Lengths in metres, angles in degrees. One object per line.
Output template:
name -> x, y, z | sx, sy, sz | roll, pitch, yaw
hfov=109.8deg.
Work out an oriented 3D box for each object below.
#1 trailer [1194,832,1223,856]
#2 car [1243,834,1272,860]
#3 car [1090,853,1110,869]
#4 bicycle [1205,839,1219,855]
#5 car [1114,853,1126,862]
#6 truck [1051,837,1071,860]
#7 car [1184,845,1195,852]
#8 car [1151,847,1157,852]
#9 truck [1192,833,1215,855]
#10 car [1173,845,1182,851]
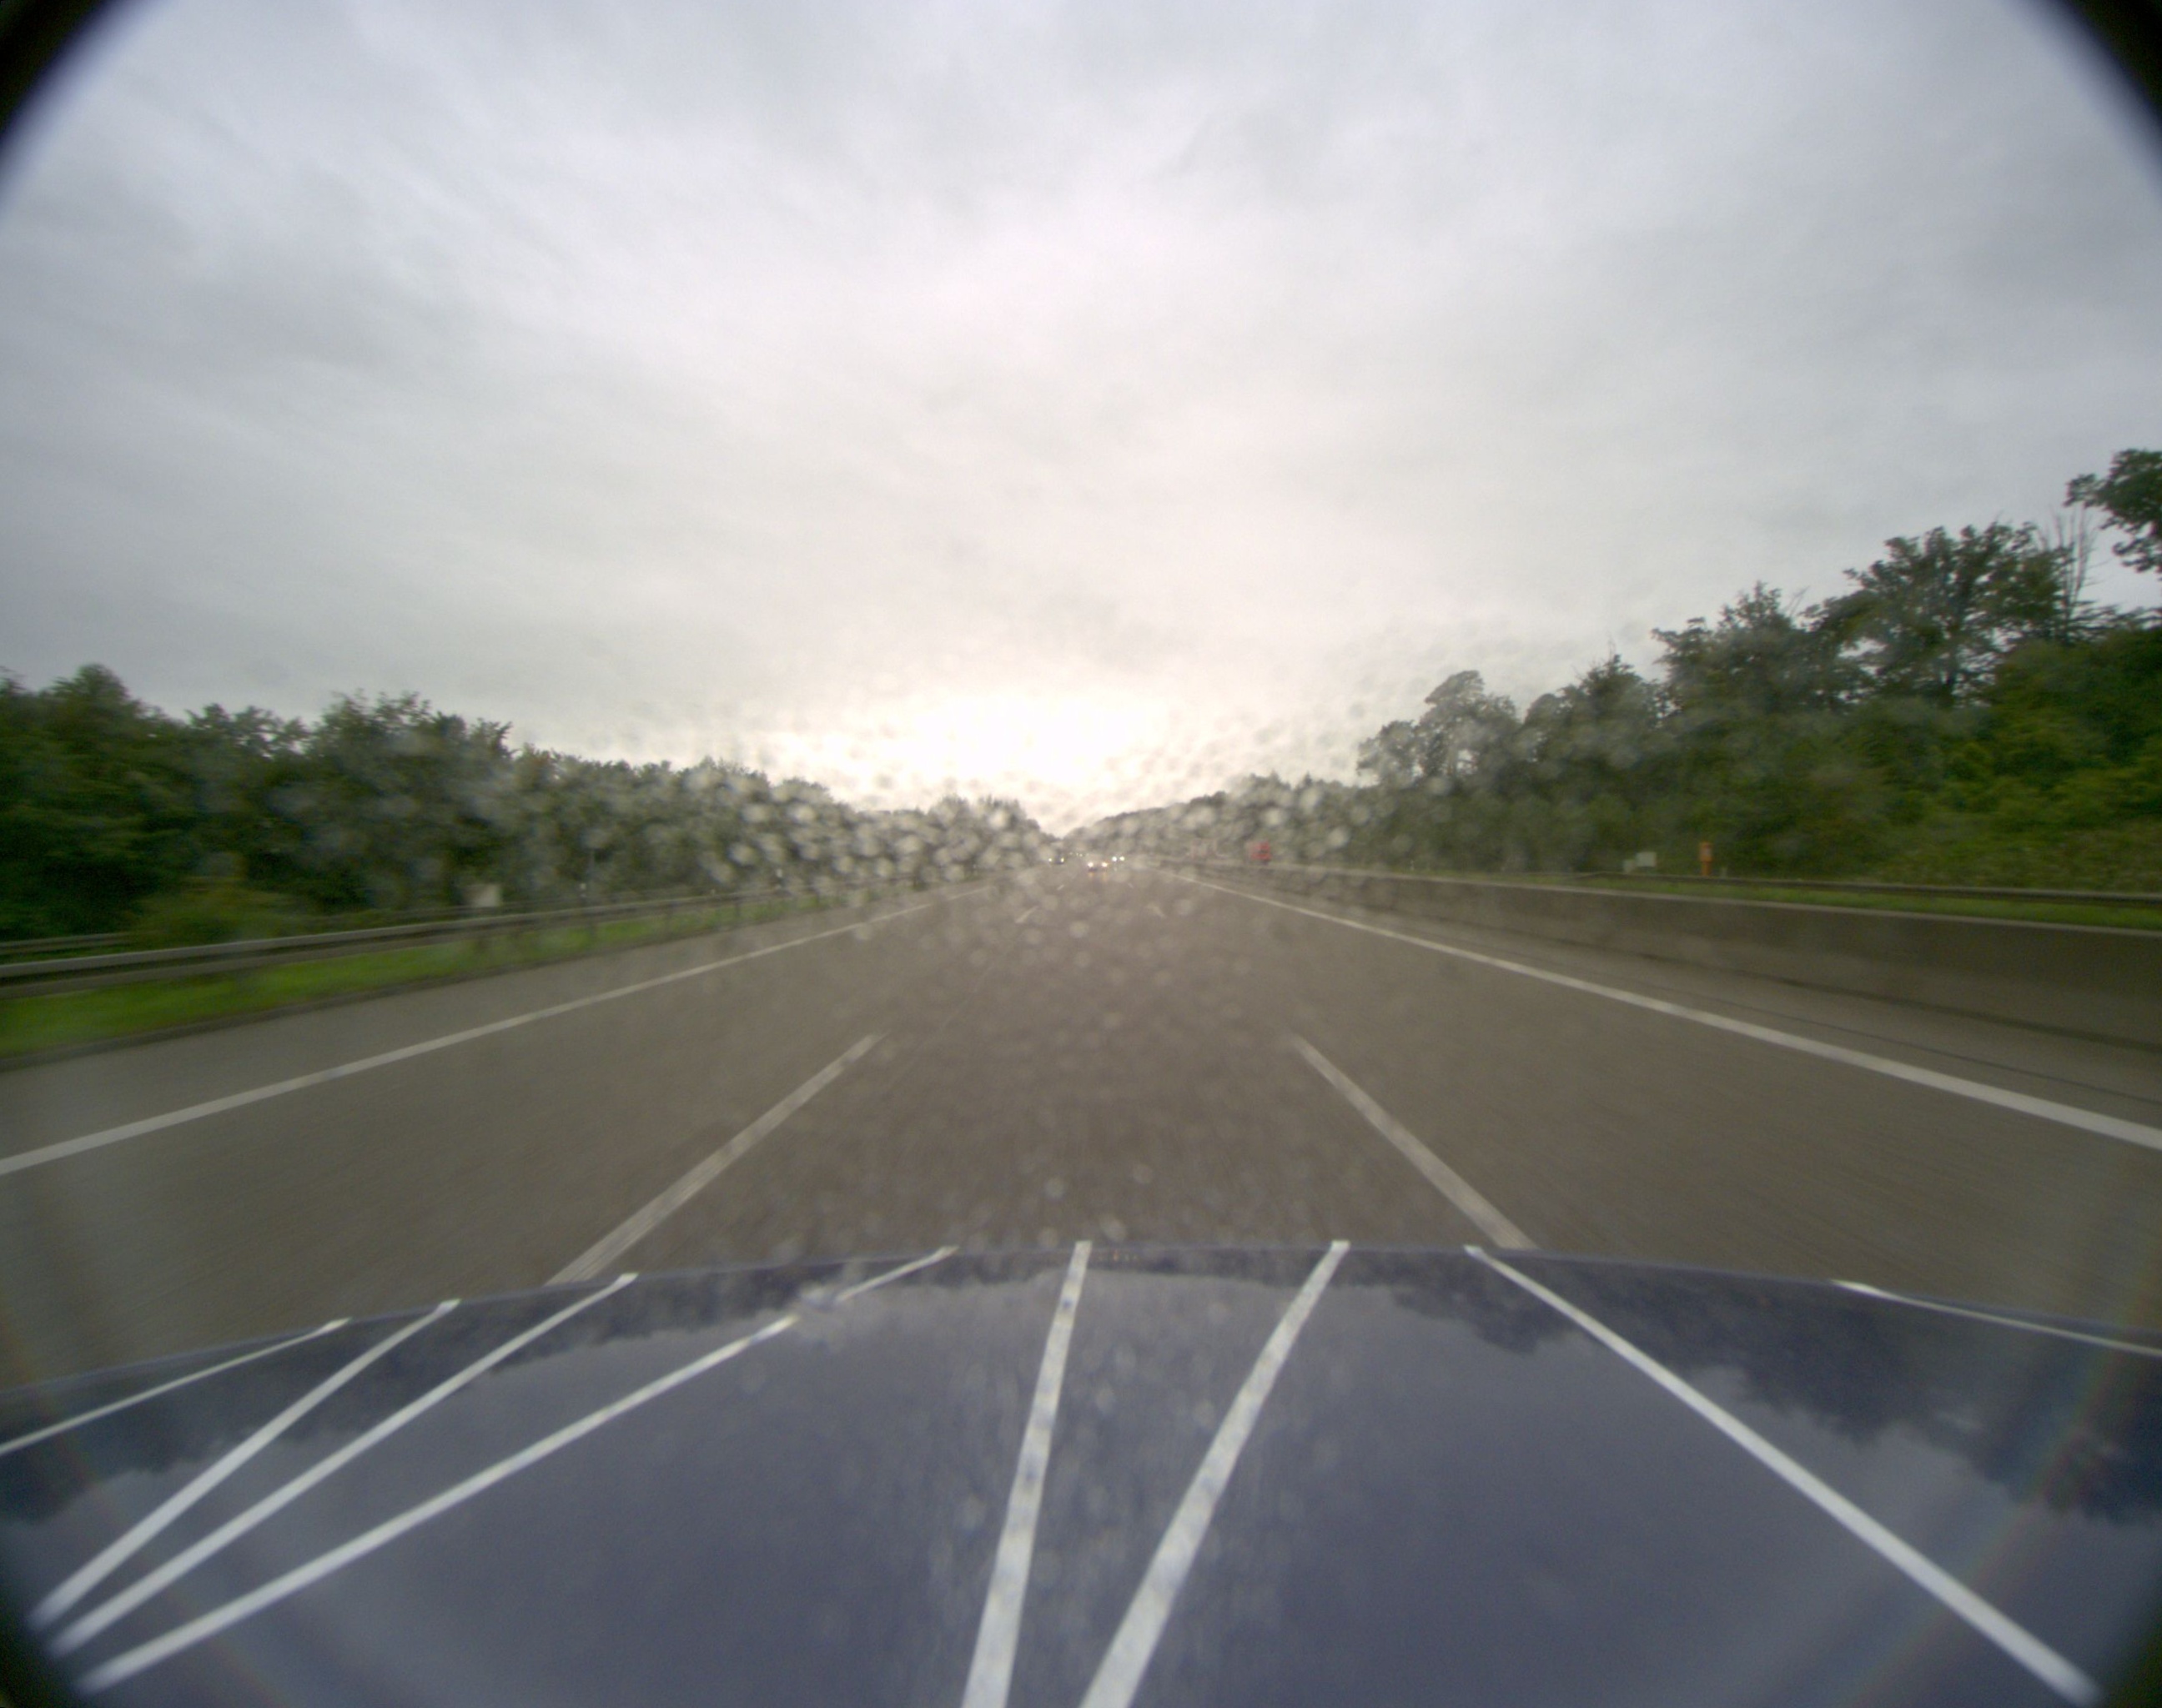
trailer -> 22.634, -1.741, 136.042 | 3.370, 3.994, 12.609 | -1, 1, 2
car -> 21.156, -0.856, 91.336 | 2.186, 3.025, 5.975 | -1, 1, 1
car -> 1.885, 0.739, 74.279 | 1.932, 1.521, 4.299 | 0, -1, 2
bicycle -> 22.235, -1.197, 129.163 | 2.199, 2.511, 1.110 | -2, 1, 1
car -> 6.811, 0.544, 131.711 | 2.009, 1.455, 4.001 | 0, 0, 3
truck -> -3.541, -1.036, 139.063 | 3.244, 3.873, 12.024 | -1, 1, 0
car -> 25.586, -1.205, 179.645 | 1.998, 1.608, 4.000 | -1, 1, 2
car -> 25.131, -1.566, 260.233 | 1.693, 1.464, 3.543 | -1, 0, 1
truck -> 22.788, -1.805, 141.381 | 3.356, 4.005, 6.465 | -1, 1, 2
car -> 24.847, -1.530, 196.307 | 1.715, 1.433, 4.000 | -1, 0, 0
